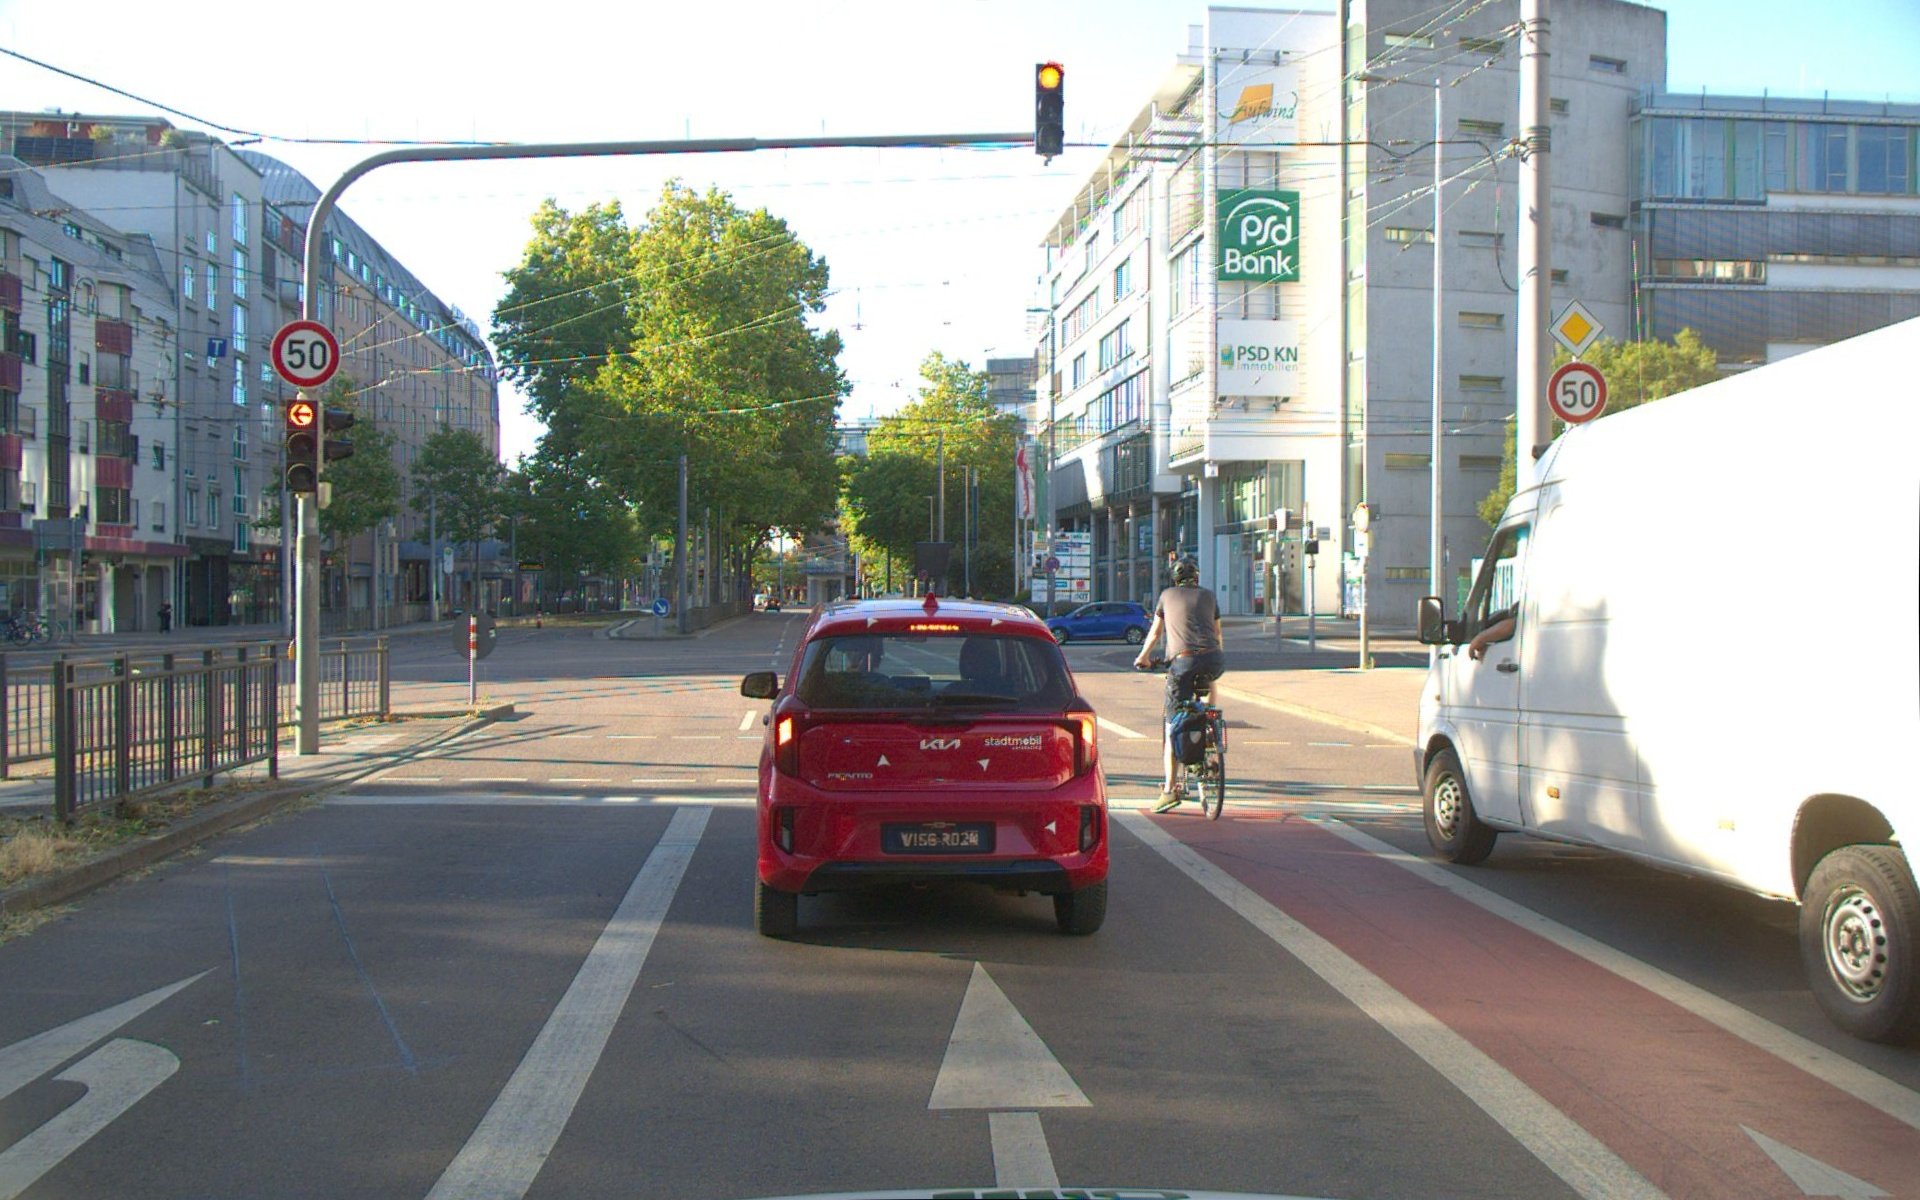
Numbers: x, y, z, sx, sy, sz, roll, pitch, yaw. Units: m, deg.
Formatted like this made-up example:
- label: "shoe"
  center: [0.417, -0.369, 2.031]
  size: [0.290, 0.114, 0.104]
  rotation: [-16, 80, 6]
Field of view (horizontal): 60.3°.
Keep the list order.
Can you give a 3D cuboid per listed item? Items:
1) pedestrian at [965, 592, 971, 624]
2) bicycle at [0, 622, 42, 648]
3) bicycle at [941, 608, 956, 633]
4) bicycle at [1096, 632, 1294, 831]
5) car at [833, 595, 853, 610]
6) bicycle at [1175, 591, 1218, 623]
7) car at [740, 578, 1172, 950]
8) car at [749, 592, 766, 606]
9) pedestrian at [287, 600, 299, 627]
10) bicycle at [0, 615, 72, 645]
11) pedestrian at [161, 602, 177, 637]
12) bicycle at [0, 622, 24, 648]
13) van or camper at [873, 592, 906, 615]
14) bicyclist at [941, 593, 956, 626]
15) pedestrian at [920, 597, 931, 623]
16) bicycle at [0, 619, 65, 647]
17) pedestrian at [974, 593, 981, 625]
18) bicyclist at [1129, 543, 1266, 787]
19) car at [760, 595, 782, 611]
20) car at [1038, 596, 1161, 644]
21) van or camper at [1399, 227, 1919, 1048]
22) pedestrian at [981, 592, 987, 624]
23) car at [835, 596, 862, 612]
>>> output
- label: "pedestrian"
  center: [0.380, 0.394, 82.257]
  size: [0.288, 1.589, 0.302]
  rotation: [-1, 0, 0]
- label: "bicycle"
  center: [-30.076, 1.096, 51.939]
  size: [2.129, 0.801, 0.491]
  rotation: [-1, 0, -10]
- label: "bicycle"
  center: [-0.584, 1.029, 83.748]
  size: [0.776, 1.182, 2.499]
  rotation: [0, 0, -1]
- label: "bicycle"
  center: [1.659, 0.902, 12.105]
  size: [0.730, 1.245, 2.150]
  rotation: [1, 1, -12]
- label: "car"
  center: [-12.876, 0.267, 181.991]
  size: [1.850, 1.555, 4.422]
  rotation: [-1, 0, -9]
- label: "bicycle"
  center: [11.049, 0.336, 77.233]
  size: [1.898, 1.468, 0.574]
  rotation: [0, 0, -8]
- label: "car"
  center: [-0.189, 0.659, 8.740]
  size: [1.804, 1.515, 3.712]
  rotation: [0, 0, -6]
- label: "car"
  center: [-29.171, -0.166, 238.336]
  size: [1.953, 2.049, 4.000]
  rotation: [-1, 0, 0]
- label: "pedestrian"
  center: [-36.130, 0.732, 89.586]
  size: [0.501, 1.484, 0.527]
  rotation: [-1, 0, -8]
- label: "bicycle"
  center: [-30.195, 0.975, 53.937]
  size: [2.129, 0.967, 0.491]
  rotation: [-1, 0, -10]
- label: "pedestrian"
  center: [-33.989, 0.836, 71.049]
  size: [0.501, 1.484, 0.526]
  rotation: [-1, 0, -12]
- label: "bicycle"
  center: [-30.244, 1.094, 51.155]
  size: [2.129, 0.801, 0.639]
  rotation: [-1, 0, -10]
- label: "van or camper"
  center: [-5.725, 0.265, 133.958]
  size: [2.106, 1.781, 4.422]
  rotation: [-1, 0, -9]
- label: "bicyclist"
  center: [-0.589, 0.472, 84.013]
  size: [0.769, 1.663, 0.639]
  rotation: [0, 0, -2]
- label: "pedestrian"
  center: [-2.341, 0.666, 111.908]
  size: [0.728, 1.746, 0.748]
  rotation: [0, 0, -3]
- label: "bicycle"
  center: [-30.083, 1.065, 53.302]
  size: [2.129, 0.838, 0.527]
  rotation: [-1, 0, -10]
- label: "pedestrian"
  center: [0.862, 0.449, 82.625]
  size: [0.288, 1.589, 0.355]
  rotation: [-1, 0, -4]
- label: "bicyclist"
  center: [1.704, 0.452, 11.946]
  size: [0.730, 1.698, 0.742]
  rotation: [1, 0, -12]
- label: "car"
  center: [-20.220, 0.334, 176.826]
  size: [2.020, 1.682, 3.483]
  rotation: [-1, 0, -11]
- label: "car"
  center: [4.843, 0.680, 57.693]
  size: [4.170, 1.595, 1.850]
  rotation: [-1, 0, 4]
- label: "van or camper"
  center: [4.210, 0.142, 7.422]
  size: [2.225, 2.781, 6.340]
  rotation: [2, 0, -5]
- label: "pedestrian"
  center: [1.199, 0.402, 82.677]
  size: [0.288, 1.589, 0.314]
  rotation: [-1, 0, 3]
- label: "car"
  center: [-11.325, 0.401, 167.979]
  size: [2.432, 1.555, 4.424]
  rotation: [-1, 0, -8]
